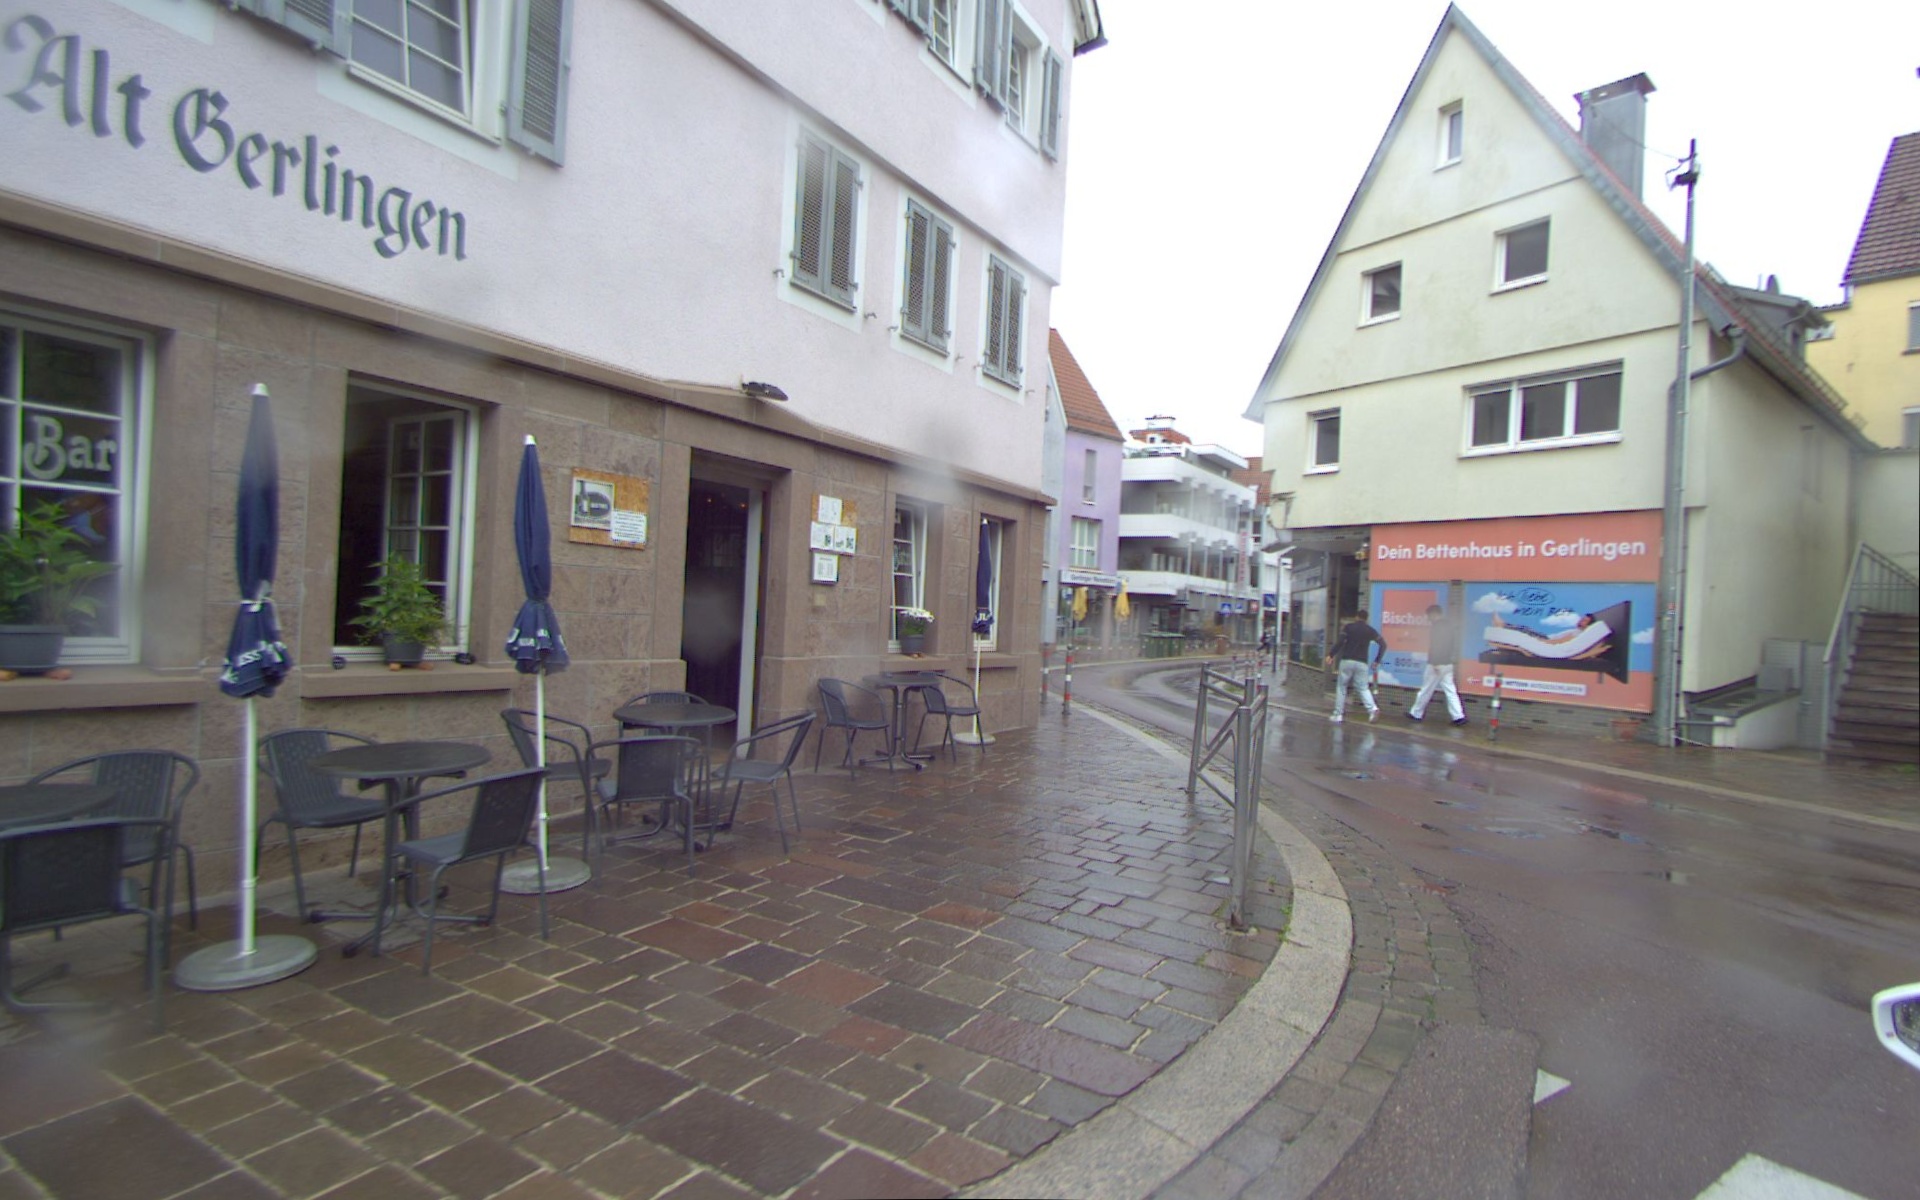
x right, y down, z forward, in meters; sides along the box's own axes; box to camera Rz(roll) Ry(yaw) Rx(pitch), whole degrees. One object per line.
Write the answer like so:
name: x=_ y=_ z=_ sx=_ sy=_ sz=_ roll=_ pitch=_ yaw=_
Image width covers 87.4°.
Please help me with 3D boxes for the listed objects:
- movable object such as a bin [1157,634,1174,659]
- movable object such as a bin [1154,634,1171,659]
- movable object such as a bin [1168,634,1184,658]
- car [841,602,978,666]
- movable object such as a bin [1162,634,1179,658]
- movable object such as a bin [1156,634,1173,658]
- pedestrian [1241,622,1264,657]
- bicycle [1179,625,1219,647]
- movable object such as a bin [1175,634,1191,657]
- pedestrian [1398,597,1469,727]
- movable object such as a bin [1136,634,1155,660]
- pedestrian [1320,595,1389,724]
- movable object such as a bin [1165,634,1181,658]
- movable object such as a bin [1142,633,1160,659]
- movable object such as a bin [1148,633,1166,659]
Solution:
movable object such as a bin: x=9.666 y=2.180 z=47.290 sx=0.623 sy=1.142 sz=0.576 roll=2 pitch=-2 yaw=30
movable object such as a bin: x=9.725 y=2.221 z=48.201 sx=0.623 sy=1.142 sz=0.576 roll=2 pitch=-2 yaw=30
movable object such as a bin: x=10.919 y=2.317 z=50.730 sx=0.623 sy=1.142 sz=0.576 roll=2 pitch=-2 yaw=30
car: x=-1.604 y=1.038 z=31.196 sx=3.943 sy=1.698 sz=1.990 roll=3 pitch=-1 yaw=43
movable object such as a bin: x=10.389 y=2.273 z=49.537 sx=0.623 sy=1.142 sz=0.576 roll=2 pitch=-2 yaw=30
movable object such as a bin: x=9.952 y=2.227 z=48.890 sx=0.623 sy=1.142 sz=0.576 roll=2 pitch=-2 yaw=30
pedestrian: x=17.994 y=2.420 z=61.739 sx=1.125 sy=2.040 sz=0.826 roll=3 pitch=1 yaw=29
bicycle: x=15.523 y=2.324 z=65.205 sx=2.271 sy=1.331 sz=1.007 roll=1 pitch=-2 yaw=35
movable object such as a bin: x=11.355 y=2.336 z=51.202 sx=0.623 sy=1.142 sz=0.576 roll=2 pitch=-2 yaw=30
pedestrian: x=7.637 y=0.986 z=16.208 sx=0.645 sy=2.040 sz=0.755 roll=3 pitch=-2 yaw=-30
movable object such as a bin: x=8.281 y=2.112 z=44.883 sx=0.623 sy=1.142 sz=0.576 roll=2 pitch=-2 yaw=30
pedestrian: x=6.415 y=0.958 z=16.340 sx=0.645 sy=2.040 sz=0.755 roll=3 pitch=-2 yaw=-30
movable object such as a bin: x=10.647 y=2.307 z=50.160 sx=0.623 sy=1.142 sz=0.576 roll=2 pitch=-2 yaw=30
movable object such as a bin: x=8.678 y=2.084 z=45.557 sx=0.623 sy=1.142 sz=0.576 roll=2 pitch=-2 yaw=30
movable object such as a bin: x=9.056 y=2.117 z=46.249 sx=0.623 sy=1.142 sz=0.576 roll=2 pitch=-2 yaw=30
